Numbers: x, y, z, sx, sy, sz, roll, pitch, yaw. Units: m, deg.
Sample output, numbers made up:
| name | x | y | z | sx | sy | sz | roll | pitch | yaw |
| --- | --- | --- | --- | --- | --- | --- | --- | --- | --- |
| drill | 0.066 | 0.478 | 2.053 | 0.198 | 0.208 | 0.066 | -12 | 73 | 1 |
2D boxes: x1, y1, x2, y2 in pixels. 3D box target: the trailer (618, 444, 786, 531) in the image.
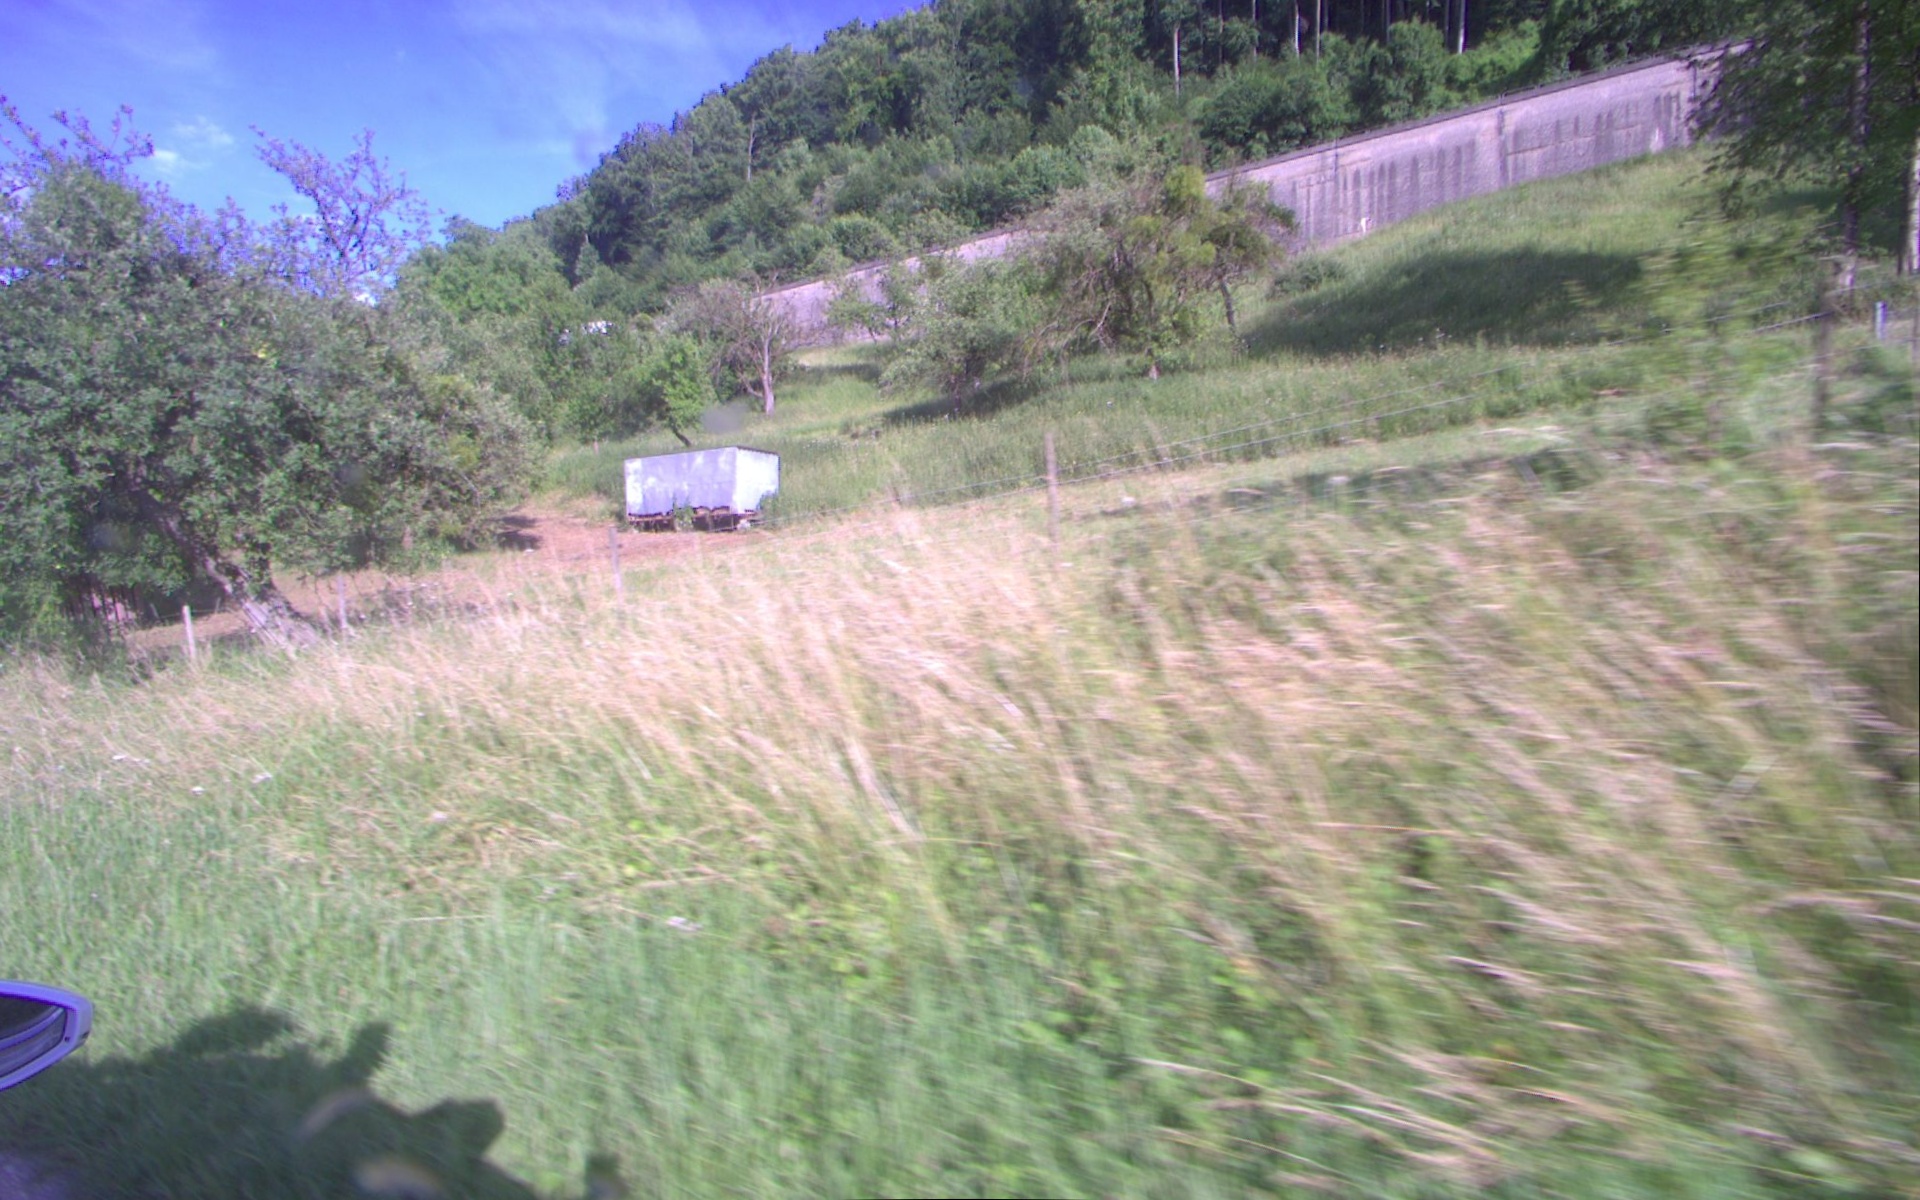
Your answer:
| name | x | y | z | sx | sy | sz | roll | pitch | yaw |
| --- | --- | --- | --- | --- | --- | --- | --- | --- | --- |
| trailer | -8.372 | -3.550 | 32.402 | 5.163 | 2.595 | 2.149 | 2 | 4 | 28 |
